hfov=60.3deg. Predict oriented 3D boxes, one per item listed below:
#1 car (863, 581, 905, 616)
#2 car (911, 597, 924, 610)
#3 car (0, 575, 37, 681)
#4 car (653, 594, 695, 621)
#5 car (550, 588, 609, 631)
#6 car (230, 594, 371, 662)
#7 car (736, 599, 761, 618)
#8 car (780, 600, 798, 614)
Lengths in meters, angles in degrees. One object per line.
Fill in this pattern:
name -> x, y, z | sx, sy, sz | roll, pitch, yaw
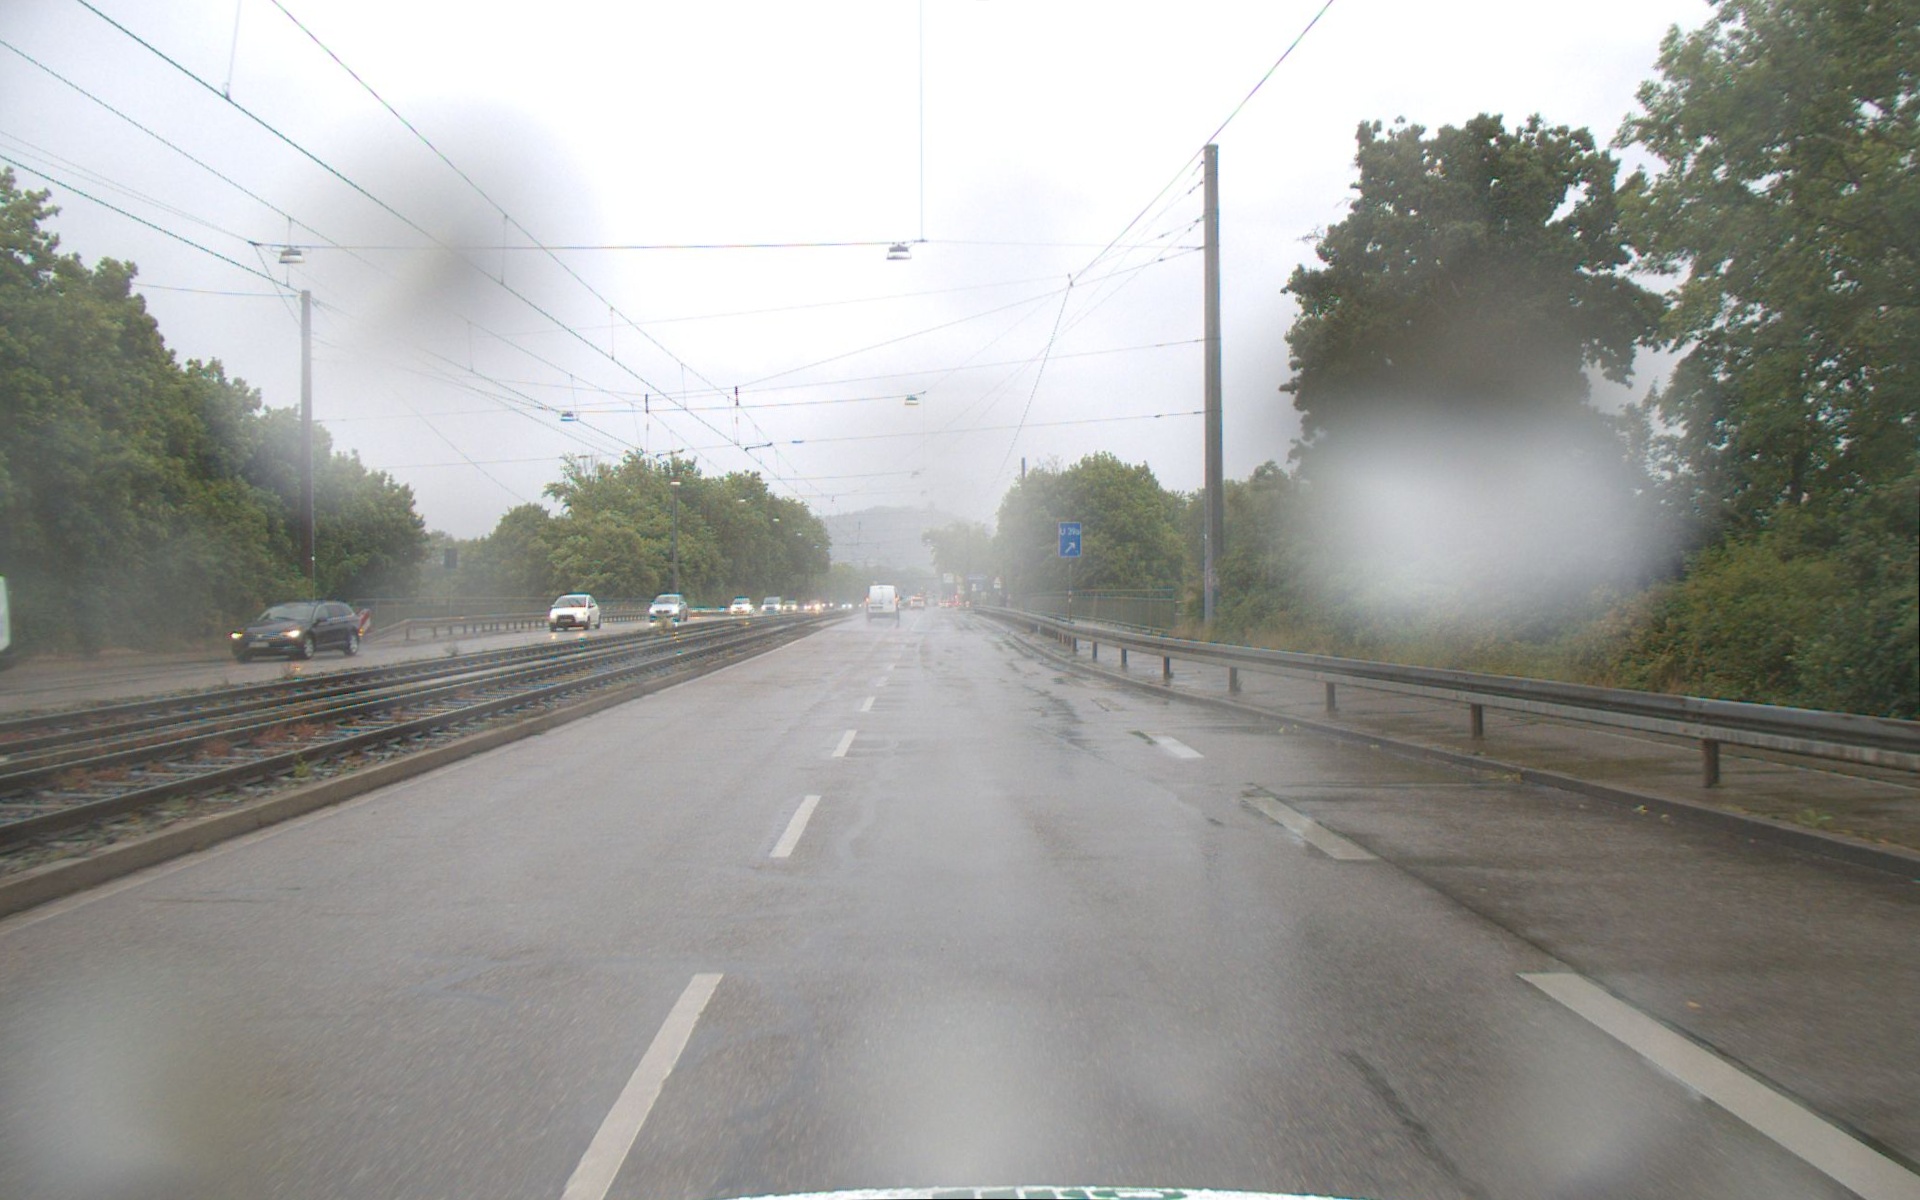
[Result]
car -> -3.871, -0.099, 84.712 | 1.948, 1.713, 3.740 | 1, 1, 0
car -> -5.571, 0.420, 216.988 | 1.708, 1.534, 3.699 | 1, 1, -1
car -> -17.511, 0.505, 27.014 | 1.998, 1.806, 4.986 | 1, 1, 1
car -> -16.881, 0.433, 97.788 | 1.761, 1.478, 4.194 | 1, 1, 0
car -> -16.624, 0.397, 72.334 | 1.718, 1.741, 3.999 | 1, 1, -1
car -> -16.905, 0.677, 42.640 | 1.654, 1.545, 4.613 | 1, 1, 2
car -> -17.977, 0.696, 140.817 | 1.708, 1.534, 3.699 | 1, 1, -1
car -> -19.308, 0.773, 186.984 | 1.708, 1.534, 3.699 | 1, 1, -1
